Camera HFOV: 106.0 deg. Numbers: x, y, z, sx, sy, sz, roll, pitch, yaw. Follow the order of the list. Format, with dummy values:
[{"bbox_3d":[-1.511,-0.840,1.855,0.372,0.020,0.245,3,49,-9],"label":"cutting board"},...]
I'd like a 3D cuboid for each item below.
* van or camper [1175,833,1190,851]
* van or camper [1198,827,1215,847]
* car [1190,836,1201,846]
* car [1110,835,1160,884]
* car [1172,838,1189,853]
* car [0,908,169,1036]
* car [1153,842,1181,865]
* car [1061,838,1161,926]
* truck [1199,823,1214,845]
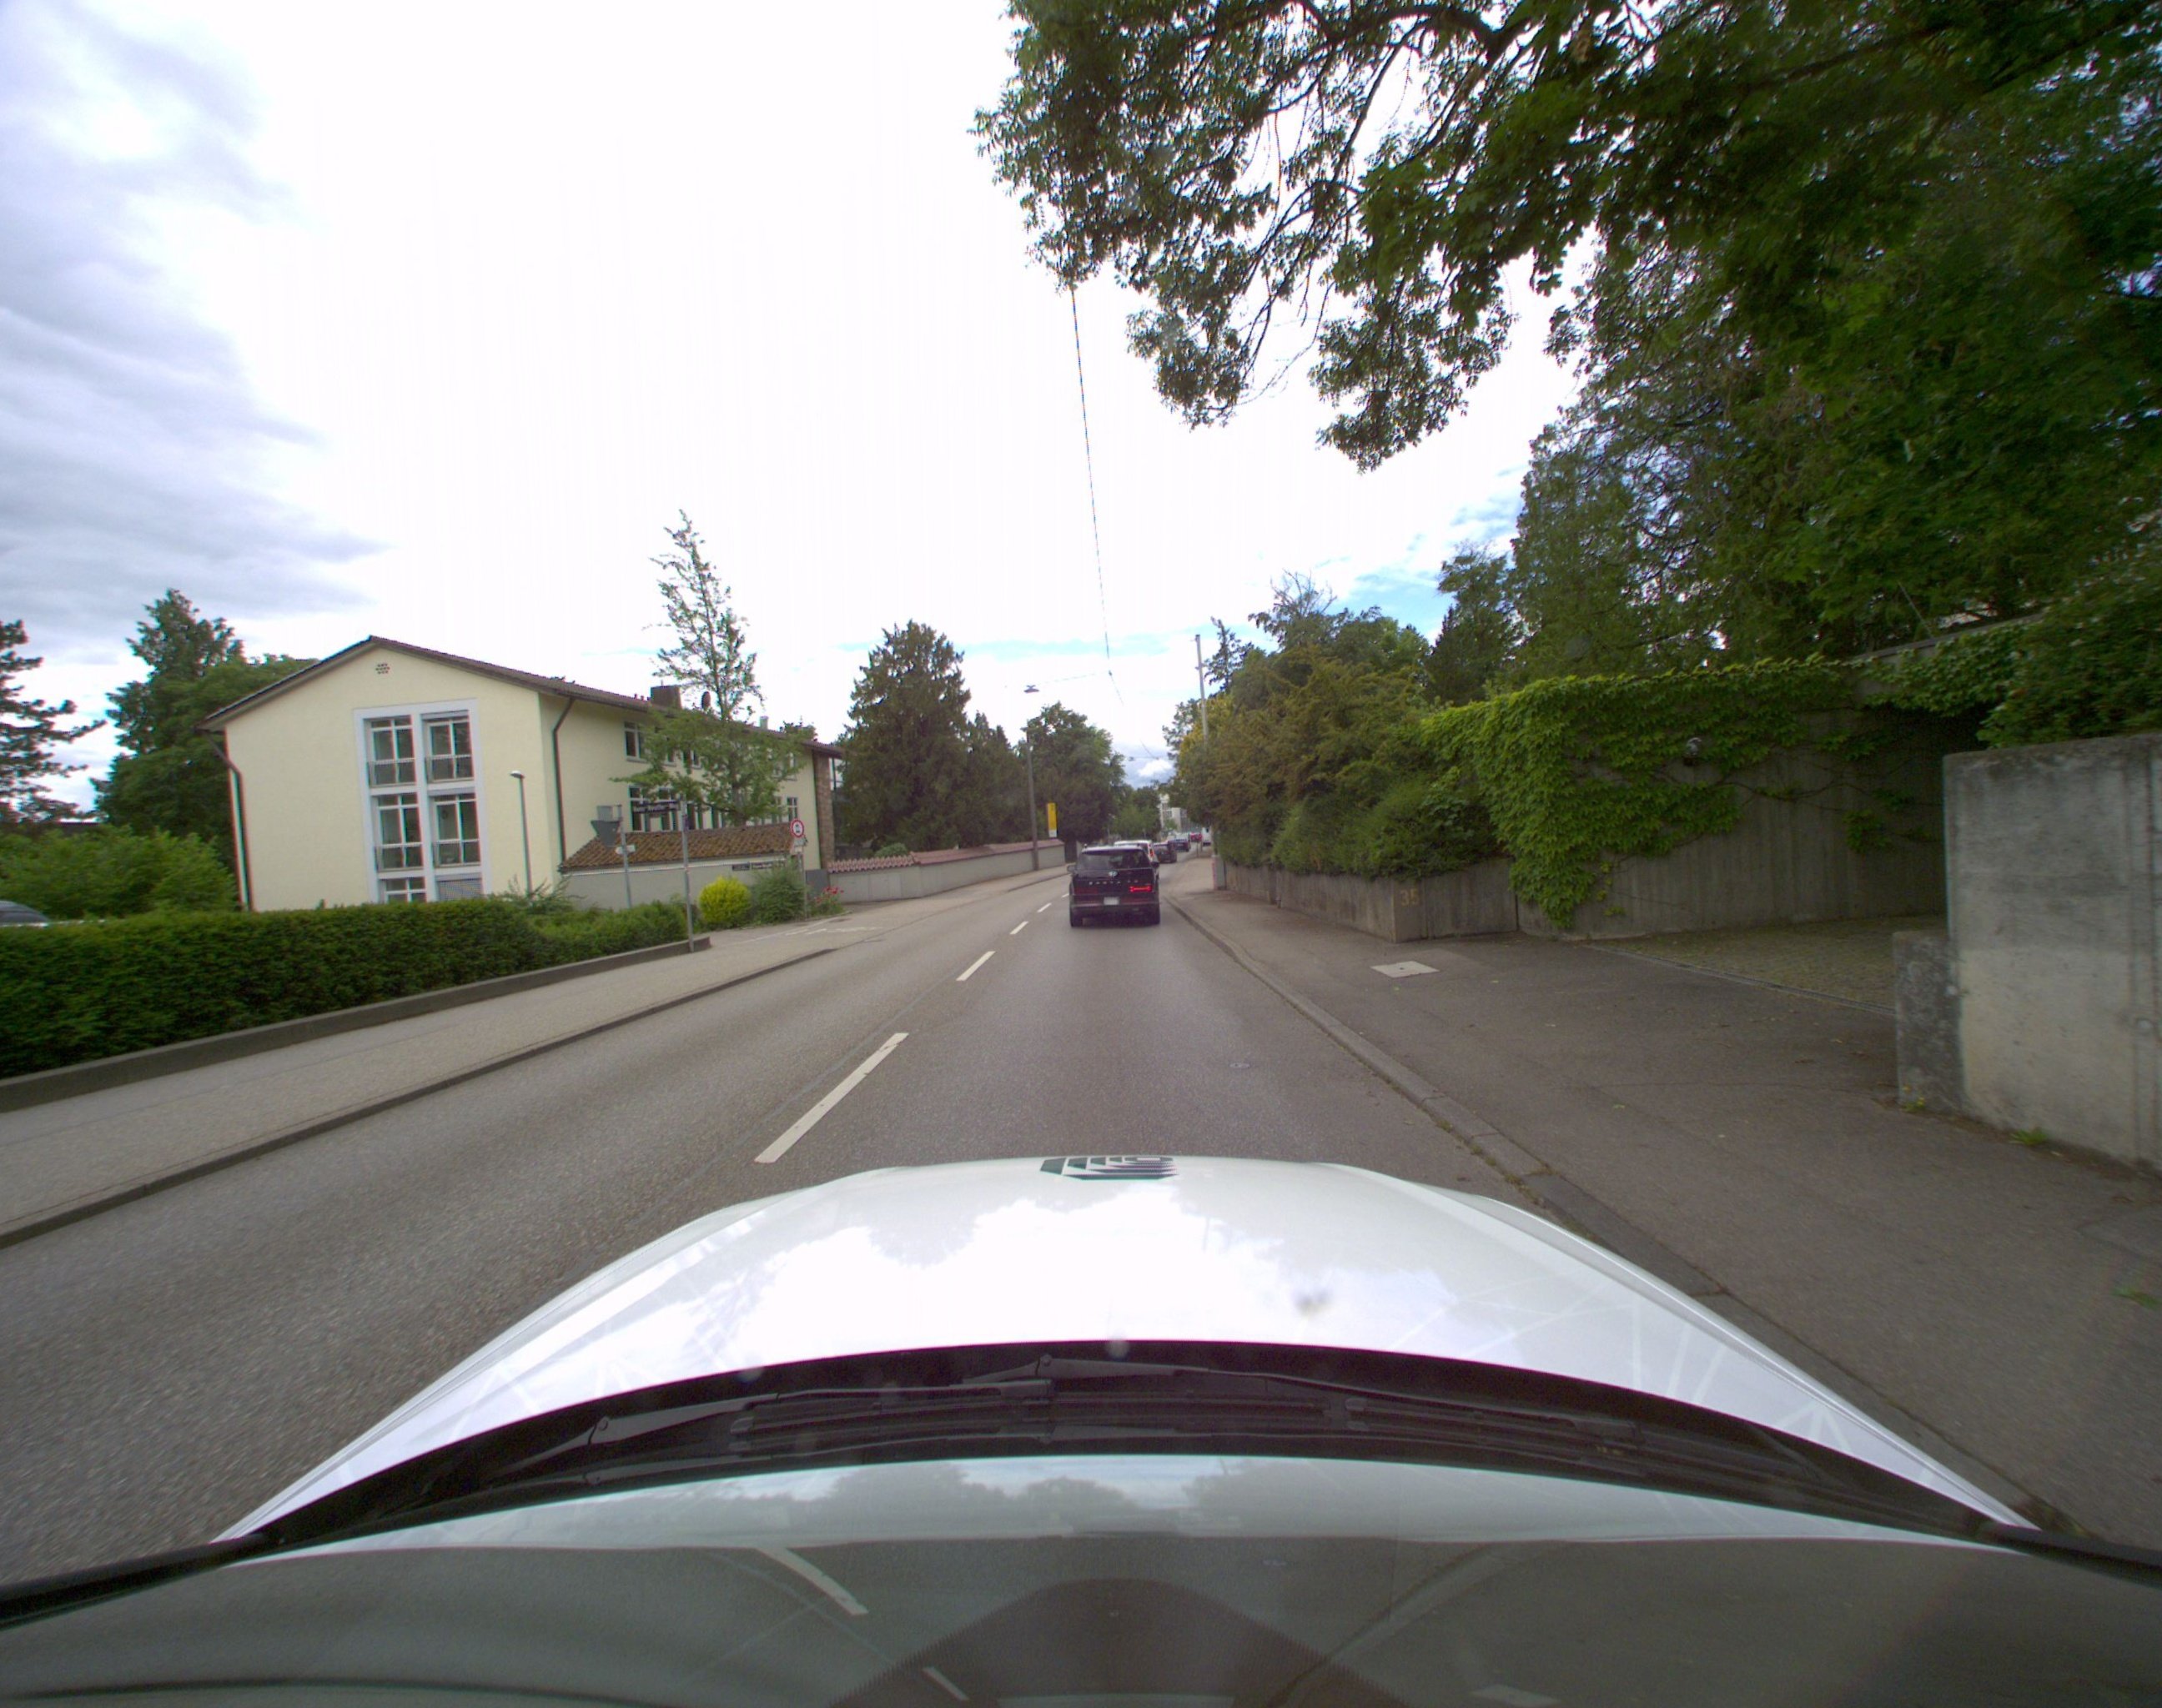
[{"bbox_3d":[12.880,-1.523,103.039,1.665,2.007,3.949,-4,1,9],"label":"van or camper"},{"bbox_3d":[17.392,-2.432,112.843,2.031,2.577,5.263,-4,1,9],"label":"van or camper"},{"bbox_3d":[19.796,-2.239,140.760,1.665,1.541,3.949,-4,1,9],"label":"car"},{"bbox_3d":[2.446,0.193,35.778,1.947,1.955,4.232,-1,2,7],"label":"car"},{"bbox_3d":[10.883,-0.925,89.090,1.666,1.422,3.948,-4,1,8],"label":"car"},{"bbox_3d":[-16.108,1.739,12.143,1.687,1.595,3.489,-1,0,-15],"label":"car"},{"bbox_3d":[6.136,-0.078,57.737,1.666,1.422,3.948,-4,1,9],"label":"car"},{"bbox_3d":[0.651,0.549,18.211,1.950,1.713,4.225,-1,0,1],"label":"car"},{"bbox_3d":[20.421,-3.259,132.273,2.267,3.439,5.993,-4,1,9],"label":"truck"}]
